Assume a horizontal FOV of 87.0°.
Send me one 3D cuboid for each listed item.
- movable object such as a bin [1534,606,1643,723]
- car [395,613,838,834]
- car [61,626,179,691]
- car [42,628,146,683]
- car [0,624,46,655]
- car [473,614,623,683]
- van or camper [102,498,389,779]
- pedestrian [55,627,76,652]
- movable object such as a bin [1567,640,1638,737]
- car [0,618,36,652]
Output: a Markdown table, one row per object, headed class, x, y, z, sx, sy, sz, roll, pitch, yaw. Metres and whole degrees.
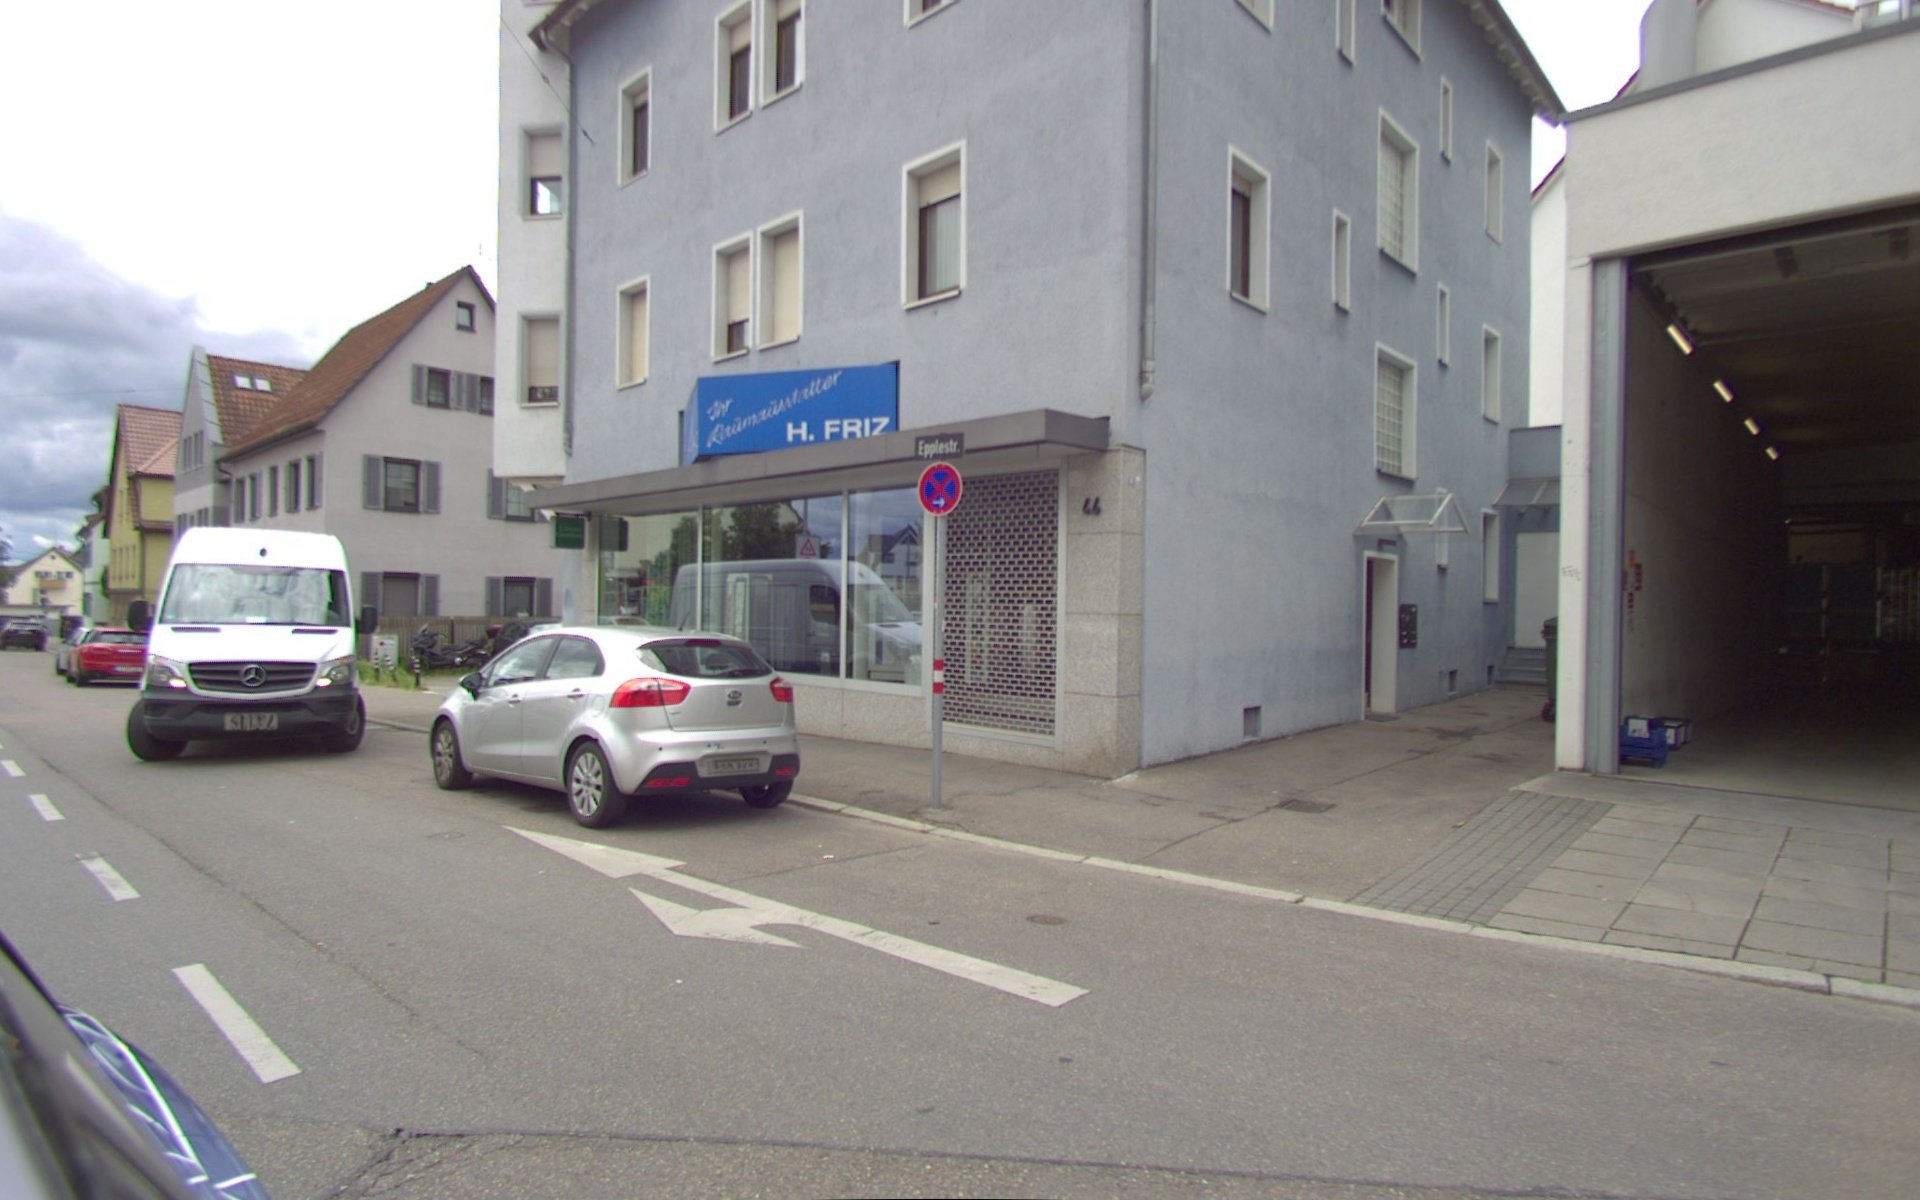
| class | x | y | z | sx | sy | sz | roll | pitch | yaw |
| --- | --- | --- | --- | --- | --- | --- | --- | --- | --- |
| movable object such as a bin | 8.108 | 0.809 | 13.074 | 0.528 | 1.446 | 1.079 | 1 | -1 | -44 |
| car | -3.037 | 0.863 | 8.553 | 3.998 | 1.422 | 1.779 | -2 | -3 | 41 |
| car | -21.285 | 1.465 | 25.573 | 1.837 | 1.485 | 4.354 | 5 | -5 | -45 |
| car | -25.396 | 1.604 | 29.632 | 4.351 | 1.485 | 1.758 | -2 | -4 | 43 |
| car | -50.165 | 2.081 | 53.997 | 4.352 | 1.580 | 1.694 | -2 | -3 | 43 |
| car | -10.620 | 1.199 | 25.910 | 4.417 | 1.564 | 1.971 | -2 | 0 | 45 |
| van or camper | -8.725 | 0.453 | 12.717 | 2.287 | 2.627 | 6.224 | 1 | -2 | -33 |
| pedestrian | -50.376 | 2.199 | 56.988 | 0.551 | 1.386 | 0.820 | -2 | -3 | 45 |
| movable object such as a bin | 7.450 | 1.007 | 11.740 | 0.638 | 1.075 | 0.333 | -1 | -2 | 44 |
| car | -55.063 | 2.026 | 58.501 | 4.352 | 1.863 | 2.083 | -2 | -3 | 43 |
